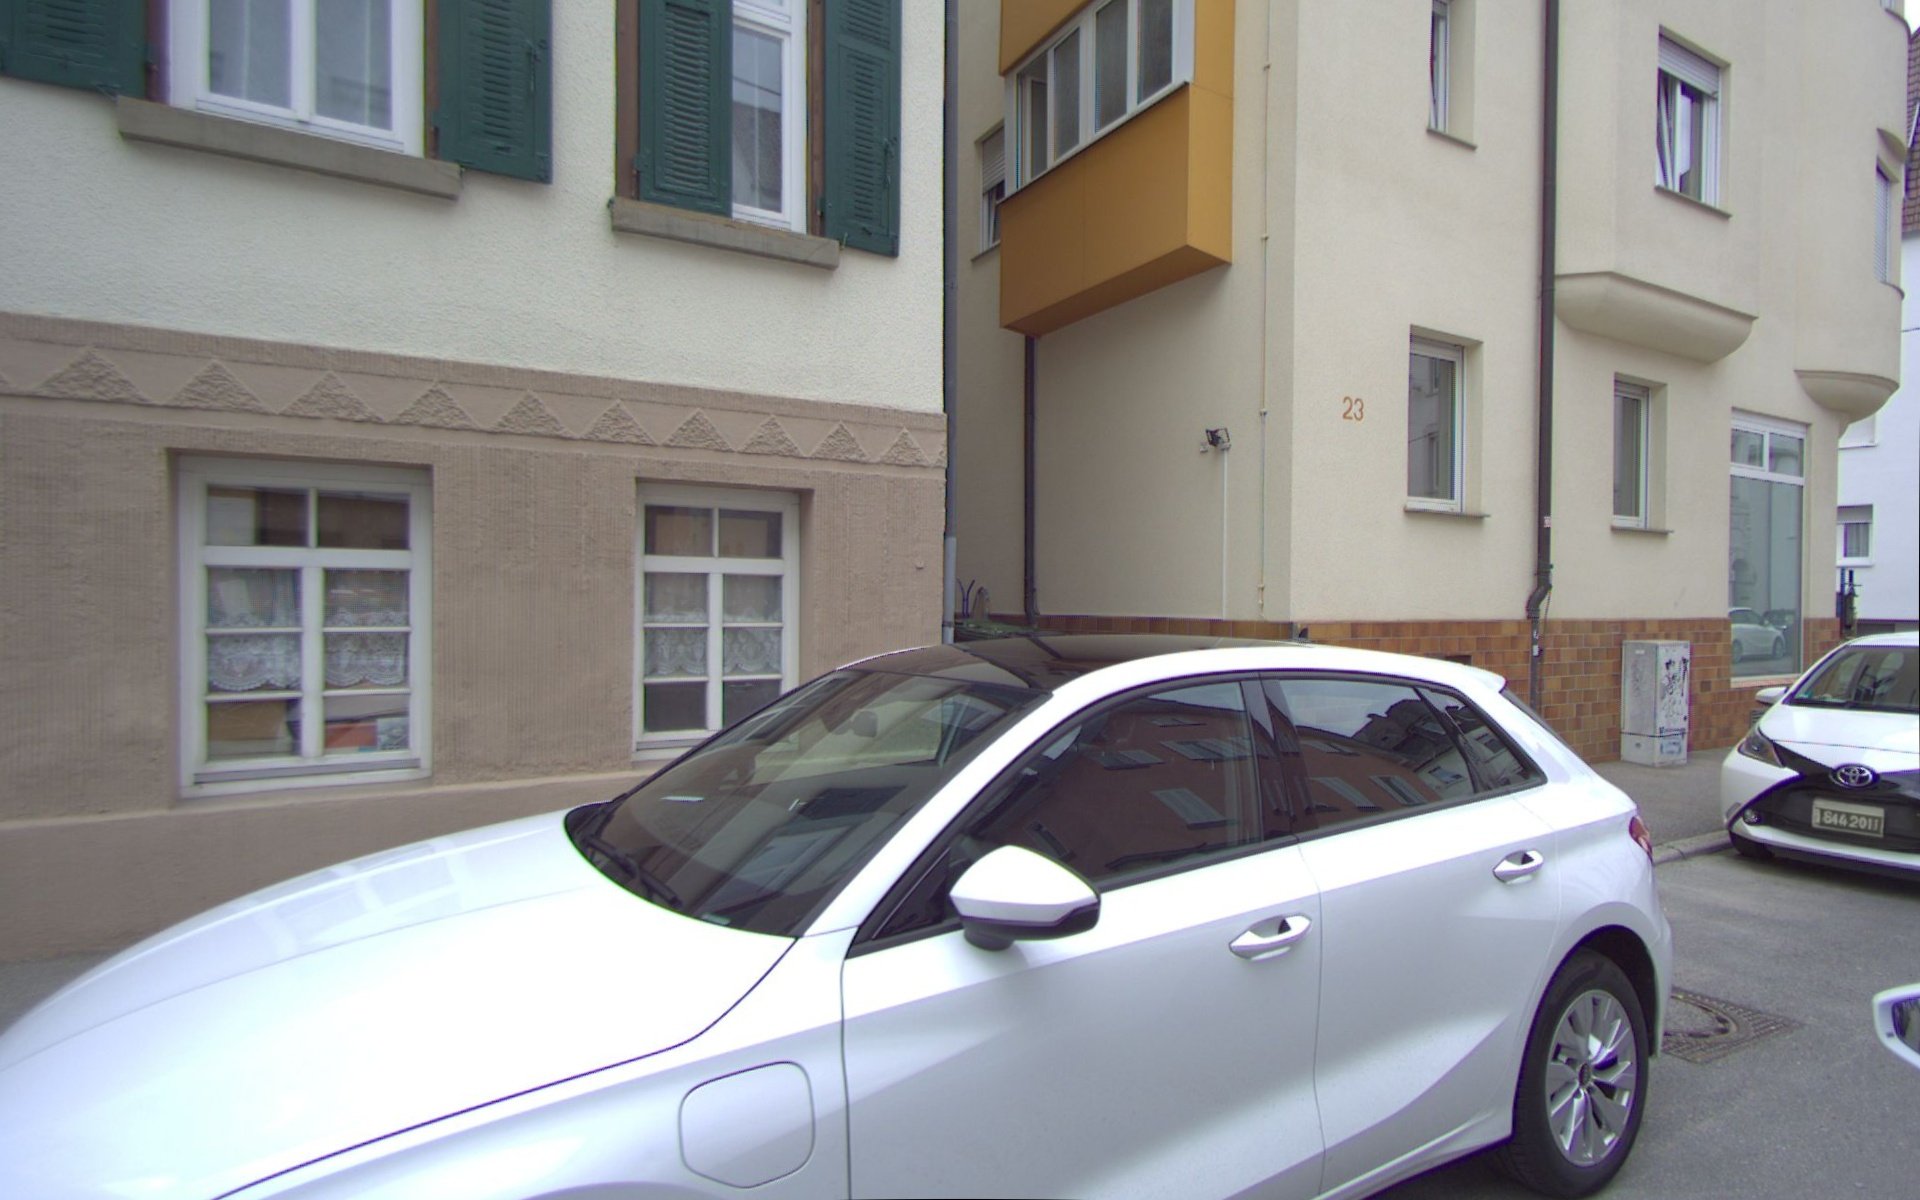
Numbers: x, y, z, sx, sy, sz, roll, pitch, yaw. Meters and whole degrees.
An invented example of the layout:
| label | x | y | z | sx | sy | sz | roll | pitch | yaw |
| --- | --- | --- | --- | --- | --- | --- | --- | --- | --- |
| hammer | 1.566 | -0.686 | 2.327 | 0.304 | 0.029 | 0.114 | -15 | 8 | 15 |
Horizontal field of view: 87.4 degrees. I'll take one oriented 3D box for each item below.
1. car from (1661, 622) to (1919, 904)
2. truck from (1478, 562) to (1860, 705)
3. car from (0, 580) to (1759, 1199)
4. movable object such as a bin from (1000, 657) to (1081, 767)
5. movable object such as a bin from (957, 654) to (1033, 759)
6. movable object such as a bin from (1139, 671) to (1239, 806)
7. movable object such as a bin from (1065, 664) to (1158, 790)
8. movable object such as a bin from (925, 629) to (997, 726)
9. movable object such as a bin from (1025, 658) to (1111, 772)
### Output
| label | x | y | z | sx | sy | sz | roll | pitch | yaw |
| --- | --- | --- | --- | --- | --- | --- | --- | --- | --- |
| car | 6.412 | 0.909 | 6.511 | 3.771 | 1.453 | 1.659 | 2 | -2 | -30 |
| truck | 14.722 | 0.620 | 21.338 | 2.297 | 2.585 | 6.221 | 2 | -1 | -37 |
| car | 0.040 | 0.789 | 2.609 | 4.319 | 1.451 | 1.743 | 2 | -3 | -30 |
| movable object such as a bin | 0.753 | 1.030 | 9.391 | 0.542 | 0.937 | 0.500 | 0 | 2 | -35 |
| movable object such as a bin | 0.343 | 1.026 | 9.846 | 0.542 | 0.937 | 0.500 | 0 | 2 | -35 |
| movable object such as a bin | 1.761 | 1.044 | 7.751 | 0.542 | 0.937 | 0.500 | 0 | 2 | -35 |
| movable object such as a bin | 1.249 | 1.029 | 8.303 | 0.542 | 0.937 | 0.500 | 0 | 2 | -35 |
| movable object such as a bin | 0.010 | 0.780 | 10.344 | 0.542 | 0.937 | 0.500 | 0 | 2 | -35 |
| movable object such as a bin | 0.947 | 0.993 | 8.837 | 0.542 | 0.906 | 0.500 | 0 | 2 | -35 |
